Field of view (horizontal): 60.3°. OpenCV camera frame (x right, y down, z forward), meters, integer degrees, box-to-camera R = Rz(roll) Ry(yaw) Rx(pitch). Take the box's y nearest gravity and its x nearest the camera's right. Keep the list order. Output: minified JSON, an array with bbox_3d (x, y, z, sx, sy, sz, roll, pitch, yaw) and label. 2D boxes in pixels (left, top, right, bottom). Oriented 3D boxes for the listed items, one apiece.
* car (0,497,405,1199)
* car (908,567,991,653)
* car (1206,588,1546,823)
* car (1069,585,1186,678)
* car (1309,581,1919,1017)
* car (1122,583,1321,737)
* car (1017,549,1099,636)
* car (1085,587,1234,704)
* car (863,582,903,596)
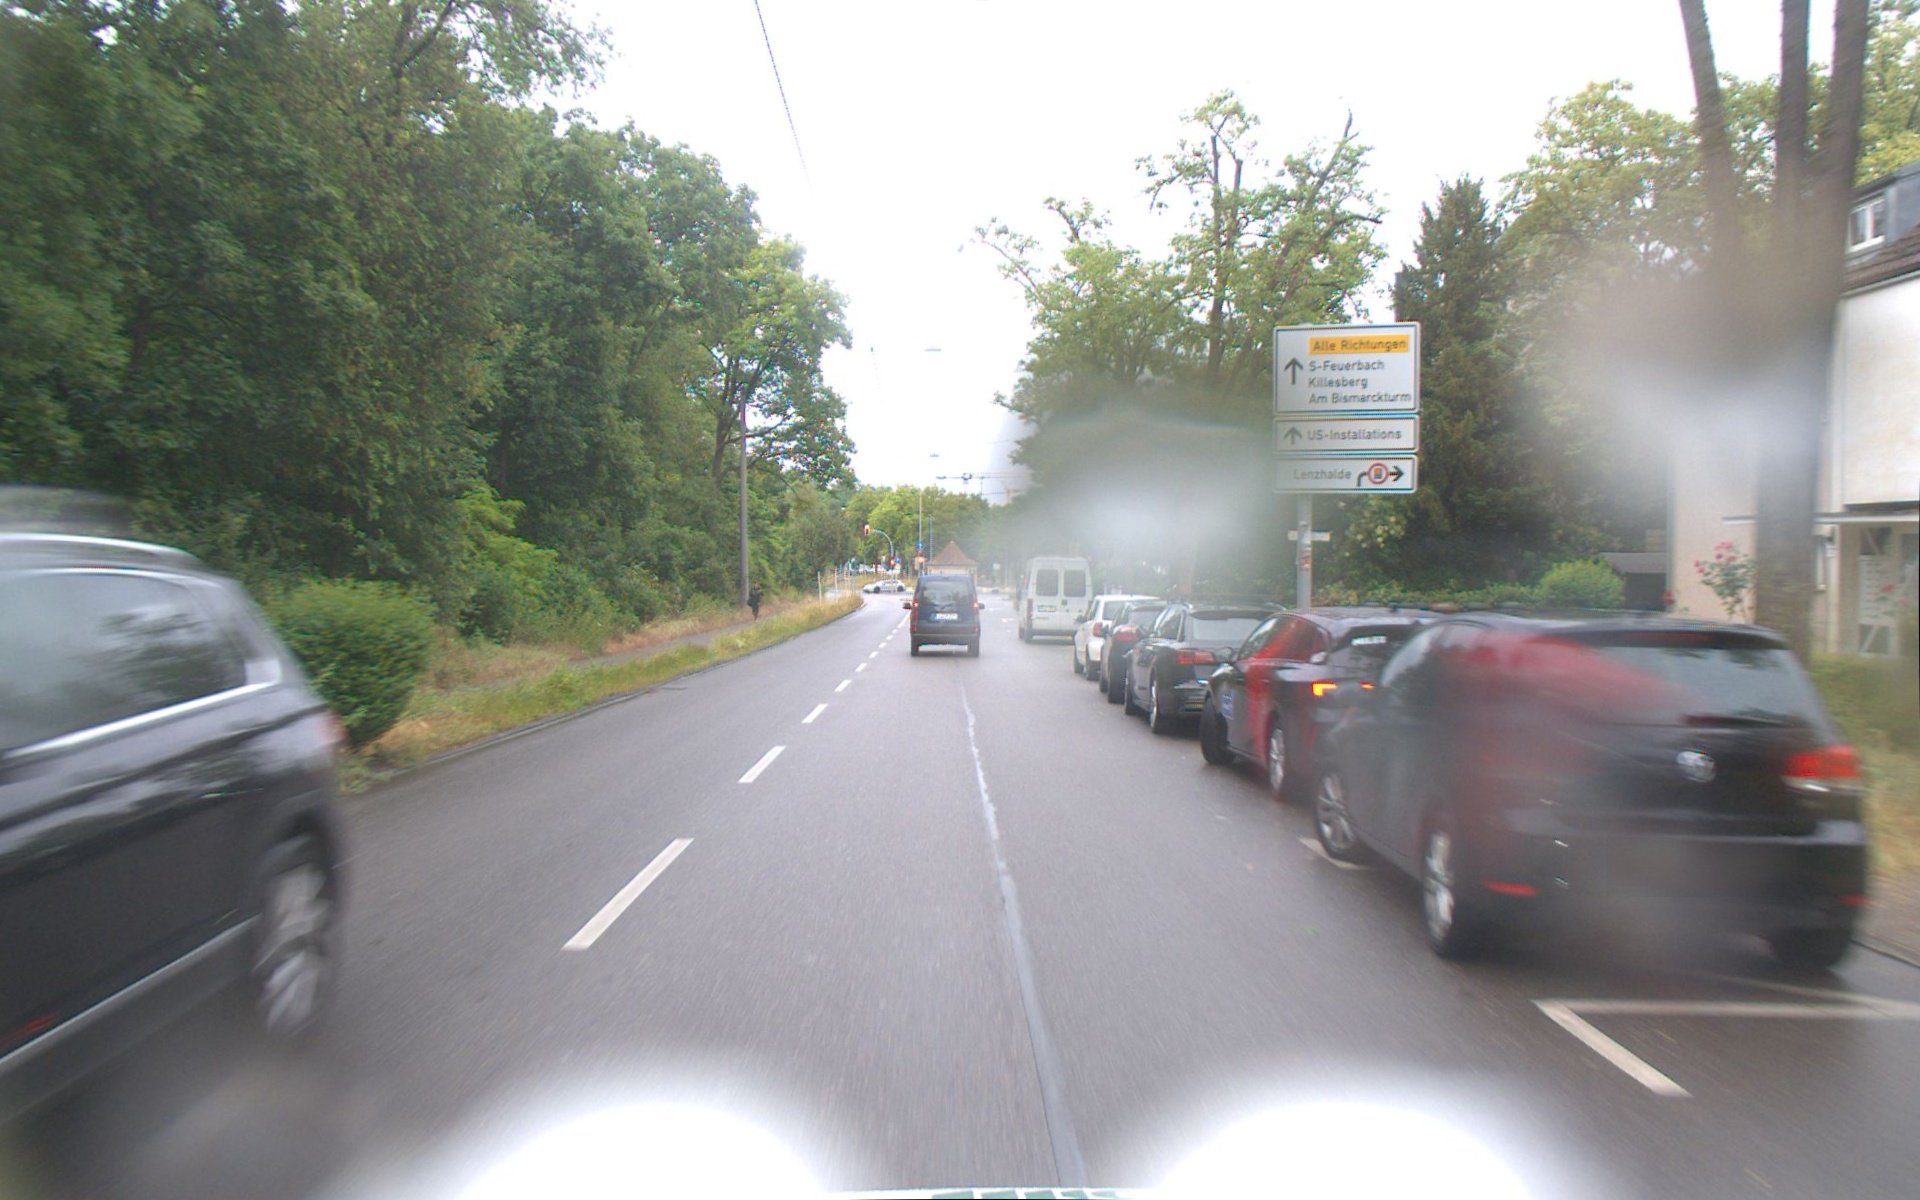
[{"bbox_3d":[-2.847,0.612,3.861,1.688,1.644,4.155,-1,1,0],"label":"car"},{"bbox_3d":[-0.283,0.183,38.742,1.732,1.862,3.540,1,1,-3],"label":"car"},{"bbox_3d":[3.157,0.717,13.342,1.663,1.551,3.867,2,1,-1],"label":"car"},{"bbox_3d":[3.037,0.529,30.705,1.663,1.551,3.867,2,1,-1],"label":"car"},{"bbox_3d":[2.921,0.728,8.166,1.662,1.551,3.869,2,1,2],"label":"car"},{"bbox_3d":[2.958,0.612,19.499,1.663,1.551,4.211,2,1,0],"label":"car"},{"bbox_3d":[2.877,-0.231,49.550,2.160,2.492,4.729,0,0,0],"label":"car"},{"bbox_3d":[2.920,0.623,24.886,1.663,1.551,3.867,2,1,-1],"label":"car"},{"bbox_3d":[-8.159,-1.189,176.201,3.951,1.400,1.720,2,1,9],"label":"car"}]
